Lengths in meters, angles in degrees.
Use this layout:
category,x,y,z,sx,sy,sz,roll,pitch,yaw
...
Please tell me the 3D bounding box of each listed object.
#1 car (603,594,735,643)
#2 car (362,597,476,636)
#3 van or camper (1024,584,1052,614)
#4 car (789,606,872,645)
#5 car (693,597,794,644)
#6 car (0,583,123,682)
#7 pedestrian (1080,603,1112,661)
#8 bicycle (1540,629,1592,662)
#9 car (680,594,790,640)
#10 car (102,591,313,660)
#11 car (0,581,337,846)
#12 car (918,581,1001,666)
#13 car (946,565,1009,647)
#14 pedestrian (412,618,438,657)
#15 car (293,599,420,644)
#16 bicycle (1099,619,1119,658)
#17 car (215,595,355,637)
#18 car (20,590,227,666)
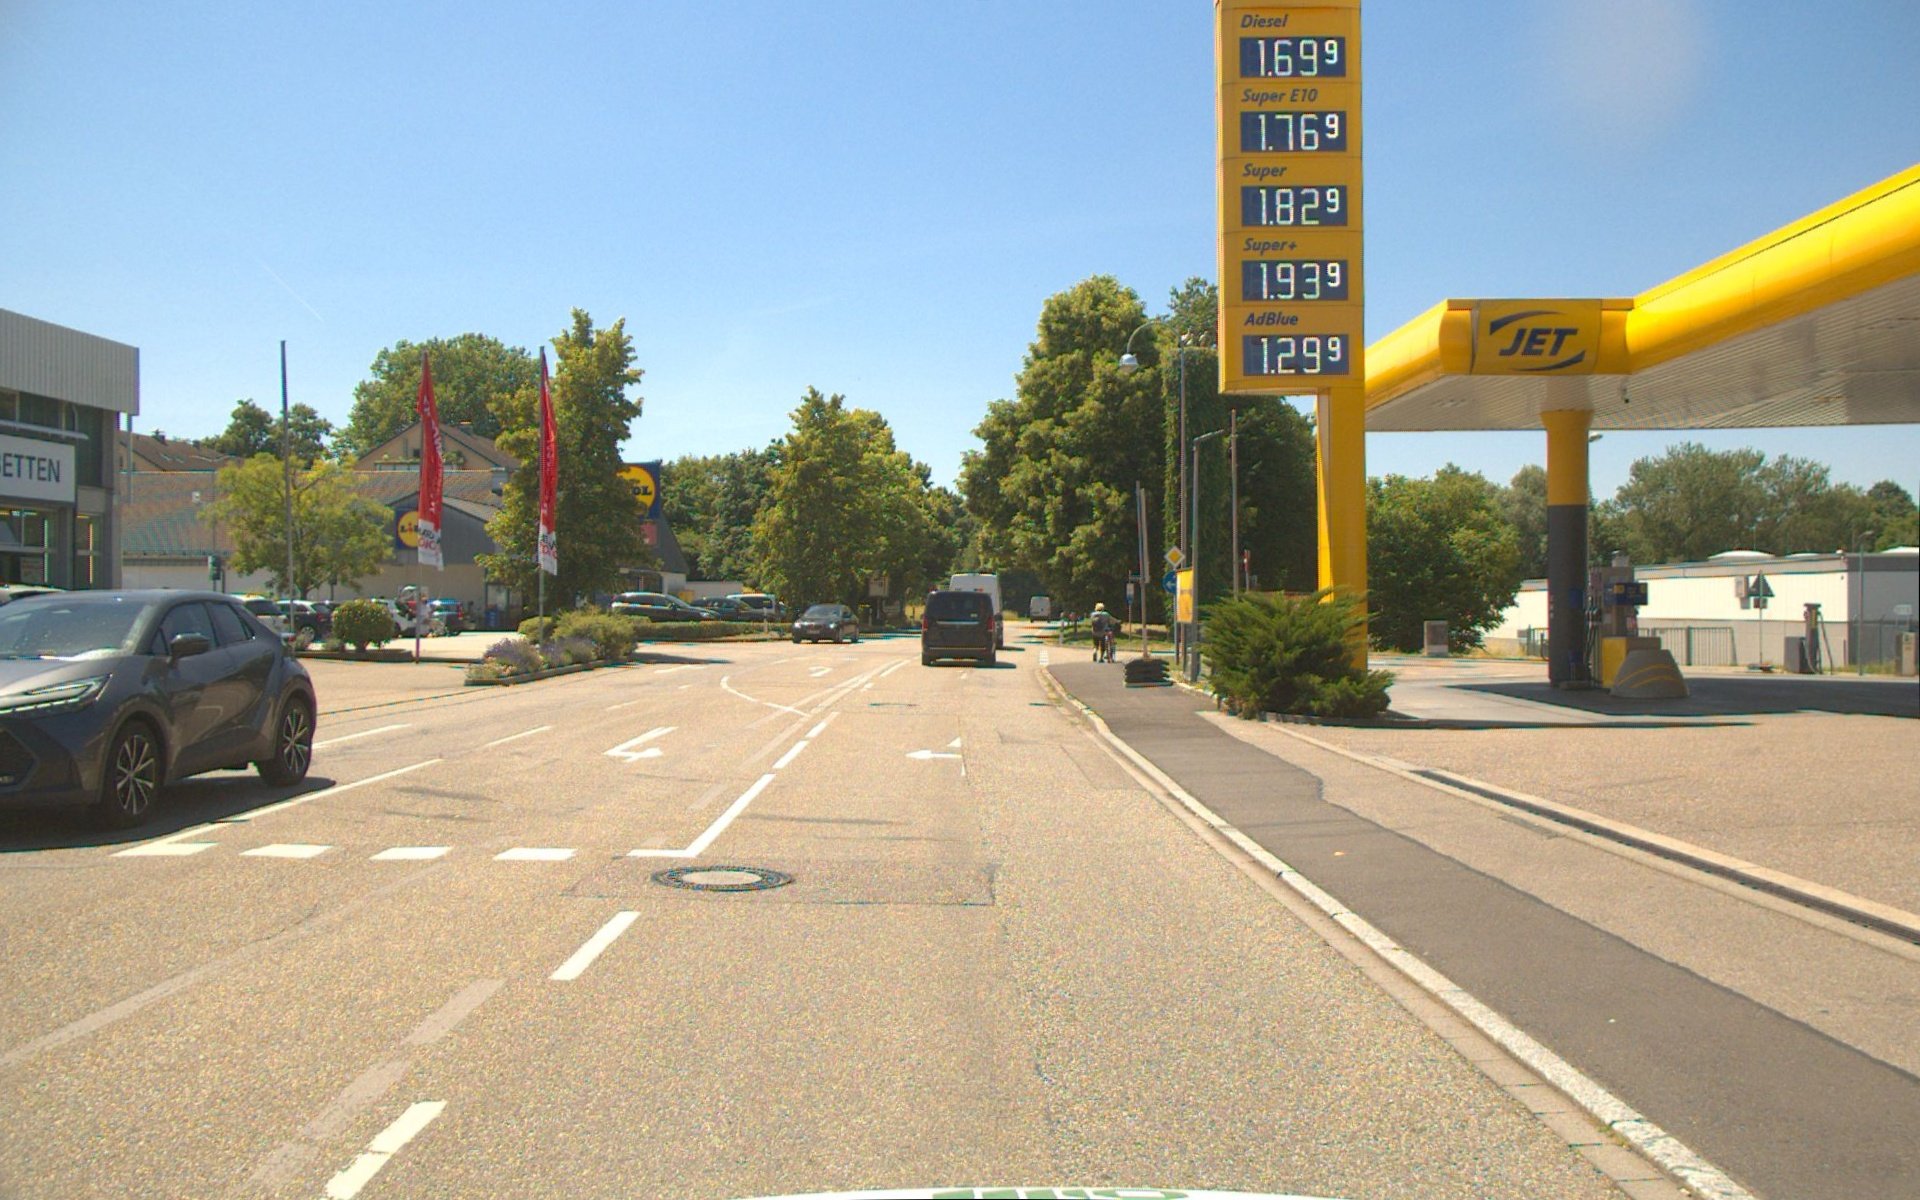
category,x,y,z,sx,sy,sz,roll,pitch,yaw
car,-11.299,0.719,64.372,4.608,1.793,2.100,1,-1,7
car,-22.962,0.723,70.323,4.224,1.557,1.827,1,-1,-1
van or camper,8.062,-0.112,171.783,2.578,2.980,5.205,2,-1,-1
car,-4.887,0.987,63.077,1.891,1.425,4.692,1,-1,11
car,-9.732,0.939,74.562,4.267,2.015,1.905,1,-1,0
car,-17.906,0.545,30.300,4.435,1.693,2.001,1,0,18
pedestrian,3.414,0.795,41.392,0.752,1.446,0.868,1,-1,7
bicycle,21.387,1.612,58.371,1.657,1.117,0.468,1,-1,5
car,-9.747,0.739,71.849,4.291,1.877,2.105,1,-1,9
car,-17.302,0.569,38.079,4.095,1.472,1.981,1,0,15
car,-6.069,0.685,11.775,1.726,1.554,4.137,-1,0,-1
car,-0.021,0.605,42.780,1.953,1.987,5.004,2,-1,0
car,0.680,0.243,59.247,2.035,2.750,4.667,2,-1,2
pedestrian,-21.349,1.497,65.980,0.876,1.509,0.803,2,-1,-22
car,-24.027,0.853,65.988,4.224,1.684,2.113,1,-1,-1
bicycle,3.695,0.941,40.999,0.370,0.928,1.599,1,-1,9
car,-23.615,0.570,57.984,4.153,1.393,1.767,1,-1,-6
car,-17.813,0.576,35.274,3.549,1.500,2.001,1,0,18
